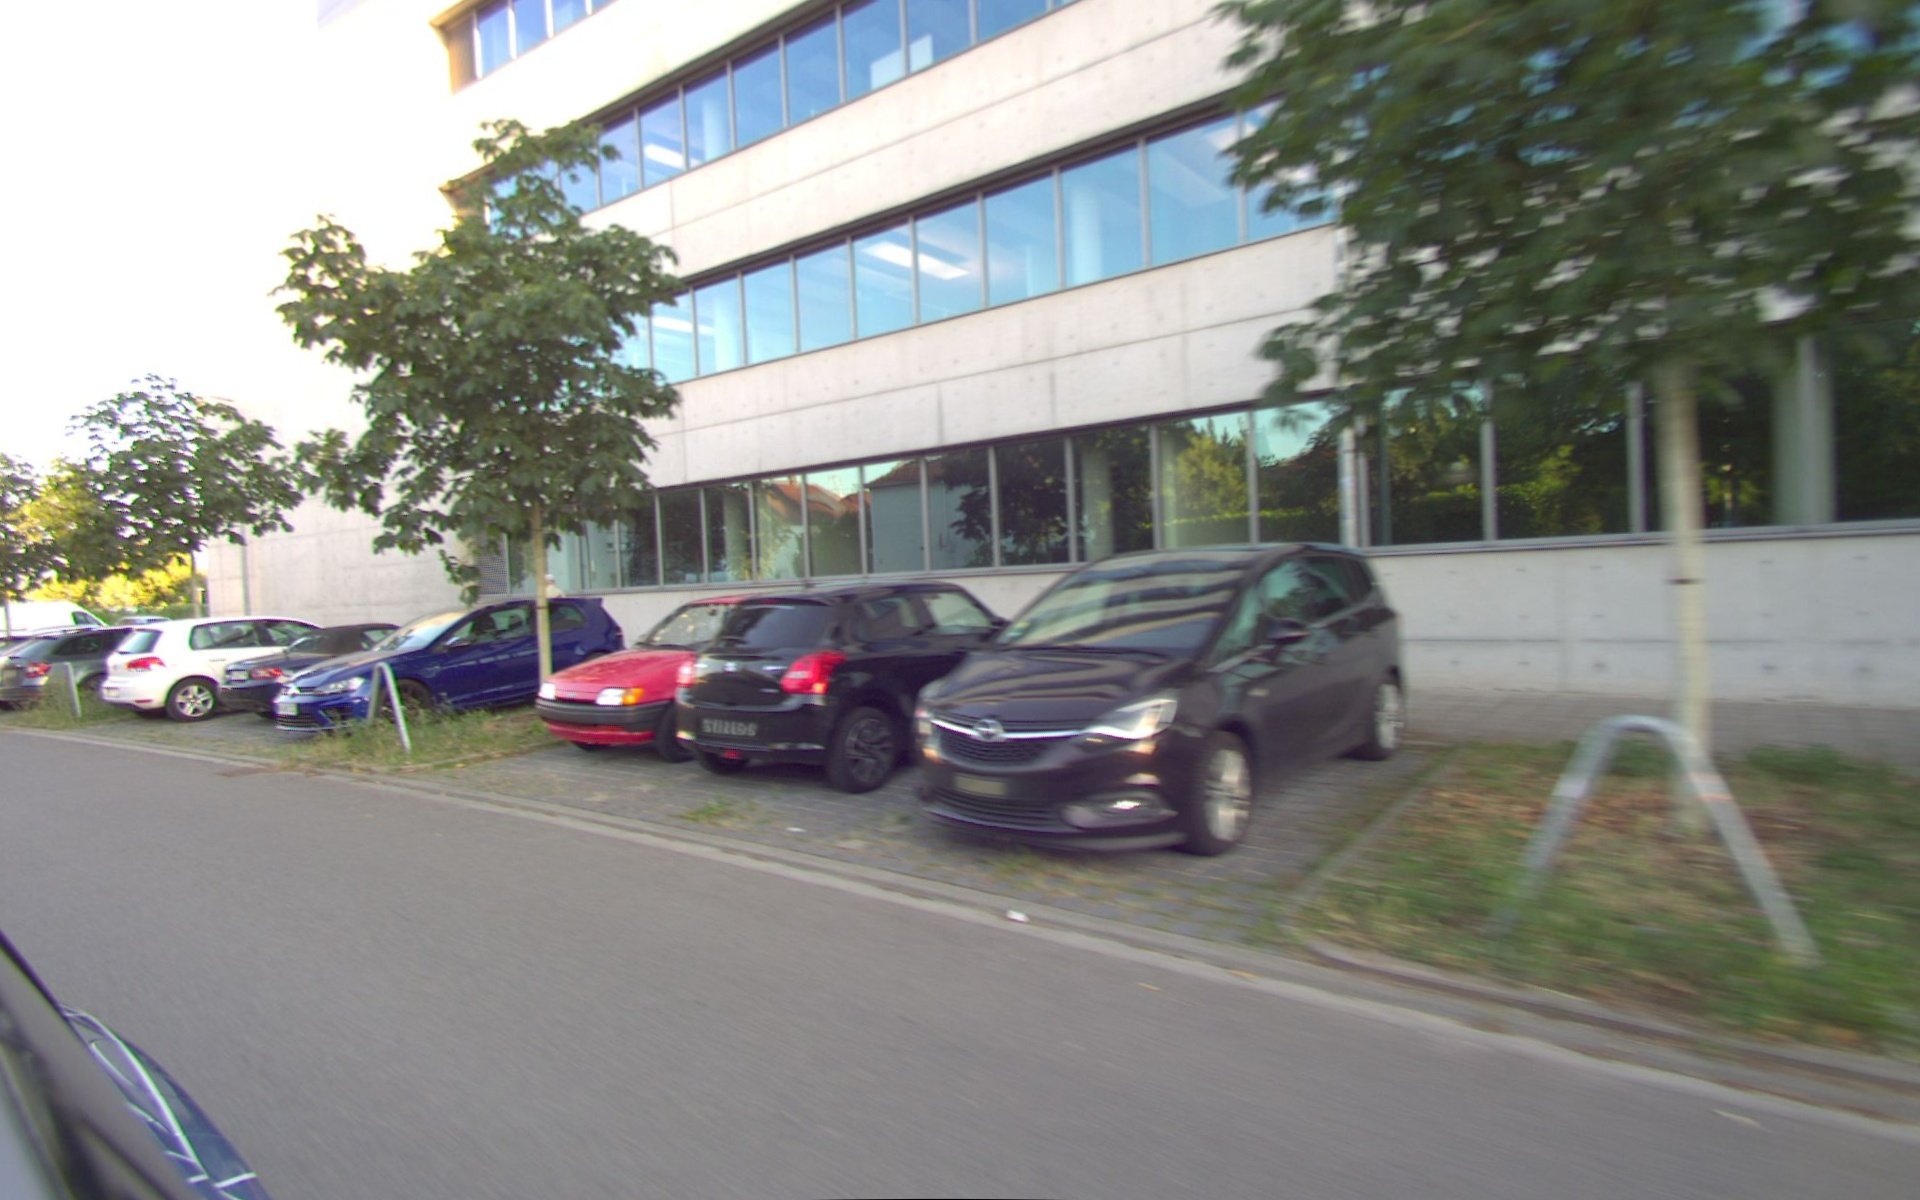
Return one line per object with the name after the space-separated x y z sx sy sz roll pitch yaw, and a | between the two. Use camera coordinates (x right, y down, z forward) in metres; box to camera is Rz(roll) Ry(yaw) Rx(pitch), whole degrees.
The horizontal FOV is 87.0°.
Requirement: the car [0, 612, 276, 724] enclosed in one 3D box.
-15.096 1.176 18.466 1.578 1.523 3.973 -4 1 29 | car

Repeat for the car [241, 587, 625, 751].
-6.412 0.743 12.706 1.756 1.522 3.837 -3 2 35 | car

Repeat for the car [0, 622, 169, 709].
-19.364 1.401 21.400 1.762 1.493 3.711 -4 2 29 | car

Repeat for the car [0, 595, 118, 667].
-39.430 1.345 42.161 2.213 2.692 6.204 -3 2 29 | car

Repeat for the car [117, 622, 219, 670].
-30.518 1.739 38.963 4.391 1.490 1.650 1 4 32 | car

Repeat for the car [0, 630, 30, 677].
-34.226 1.880 35.241 4.192 1.490 1.650 0 4 33 | car

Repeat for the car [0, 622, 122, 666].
-36.694 1.777 41.336 1.508 1.458 3.417 -3 2 29 | car

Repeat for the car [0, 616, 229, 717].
-17.241 1.271 20.009 1.838 1.540 4.061 -3 2 29 | car

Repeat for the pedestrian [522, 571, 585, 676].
-7.230 0.420 18.013 0.723 1.797 0.640 -2 2 35 | pedestrian

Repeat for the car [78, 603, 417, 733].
-11.060 0.971 15.982 1.756 1.522 3.953 -3 2 35 | car

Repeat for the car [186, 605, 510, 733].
-8.680 0.914 14.661 1.679 1.372 3.608 -3 2 30 | car

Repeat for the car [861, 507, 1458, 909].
1.592 0.364 6.530 1.895 1.709 4.266 -2 2 40 | car

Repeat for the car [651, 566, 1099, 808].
-0.502 0.532 8.486 1.676 1.468 3.668 -2 2 37 | car

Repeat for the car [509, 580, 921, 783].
-2.208 0.630 9.955 1.708 1.468 3.670 -2 2 36 | car
